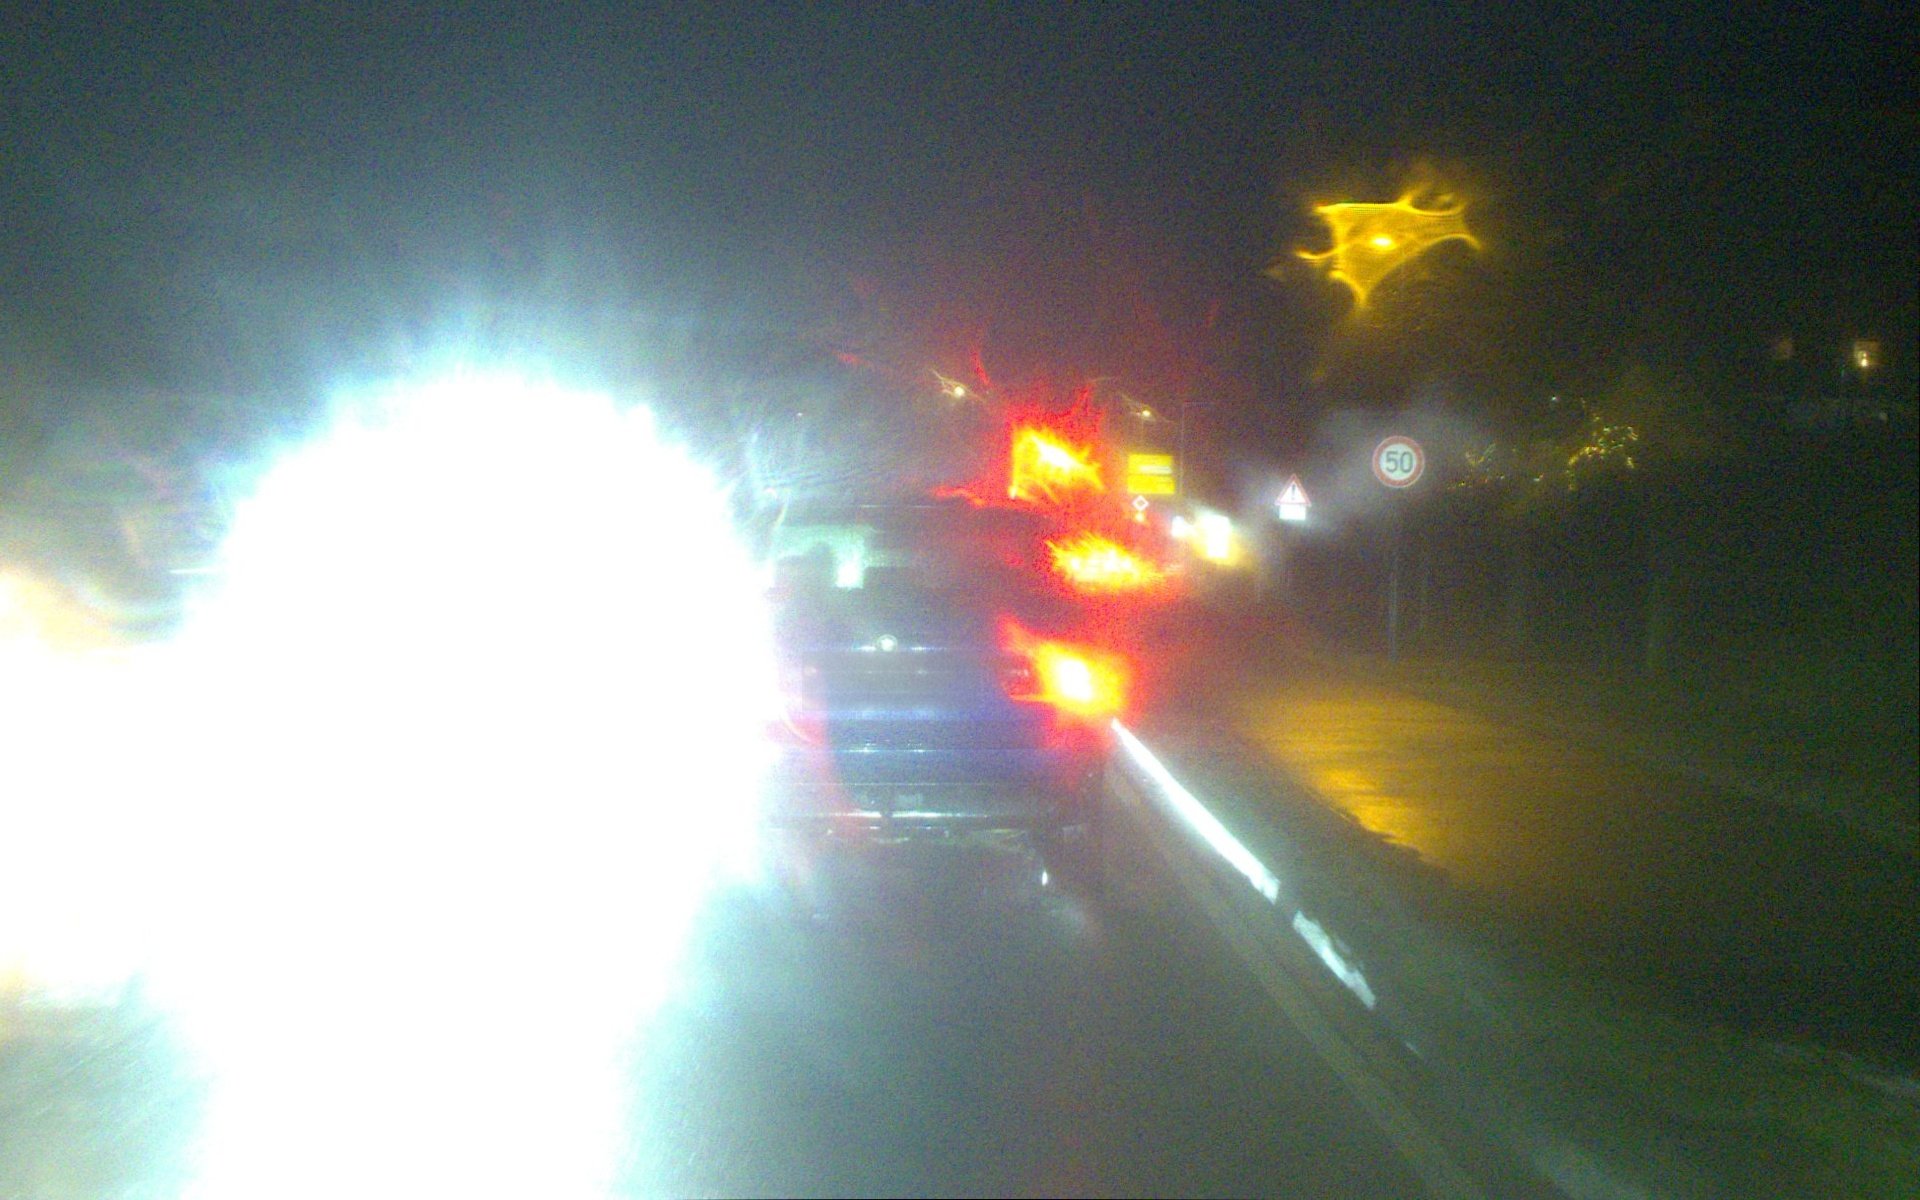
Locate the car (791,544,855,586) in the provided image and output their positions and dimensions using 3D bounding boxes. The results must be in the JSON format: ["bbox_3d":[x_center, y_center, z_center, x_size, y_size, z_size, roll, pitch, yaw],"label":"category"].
[{"bbox_3d":[-4.827,-1.265,121.987,2.077,1.444,4.992,1,1,0],"label":"car"}]

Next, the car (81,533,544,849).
[{"bbox_3d":[-3.523,0.412,19.535,1.844,1.569,4.597,0,1,-1],"label":"car"}]

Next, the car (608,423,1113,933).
[{"bbox_3d":[-0.425,0.267,15.490,1.942,1.965,4.218,1,1,-1],"label":"car"}]

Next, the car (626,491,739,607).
[{"bbox_3d":[-6.690,-1.239,83.468,2.122,2.698,6.240,1,1,1],"label":"car"}]

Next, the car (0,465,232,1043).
[{"bbox_3d":[-3.684,0.419,10.826,1.844,1.663,4.445,0,1,0],"label":"car"}]

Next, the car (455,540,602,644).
[{"bbox_3d":[-6.546,-0.145,52.464,1.720,1.502,3.828,1,1,1],"label":"car"}]

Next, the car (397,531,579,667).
[{"bbox_3d":[-5.972,-0.044,43.891,1.805,1.624,4.416,1,1,-1],"label":"car"}]

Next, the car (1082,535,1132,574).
[{"bbox_3d":[5.700,-1.742,132.754,1.663,1.445,4.049,0,0,6],"label":"car"}]

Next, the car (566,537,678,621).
[{"bbox_3d":[-6.582,-0.435,67.281,1.720,1.583,4.312,1,1,0],"label":"car"}]
